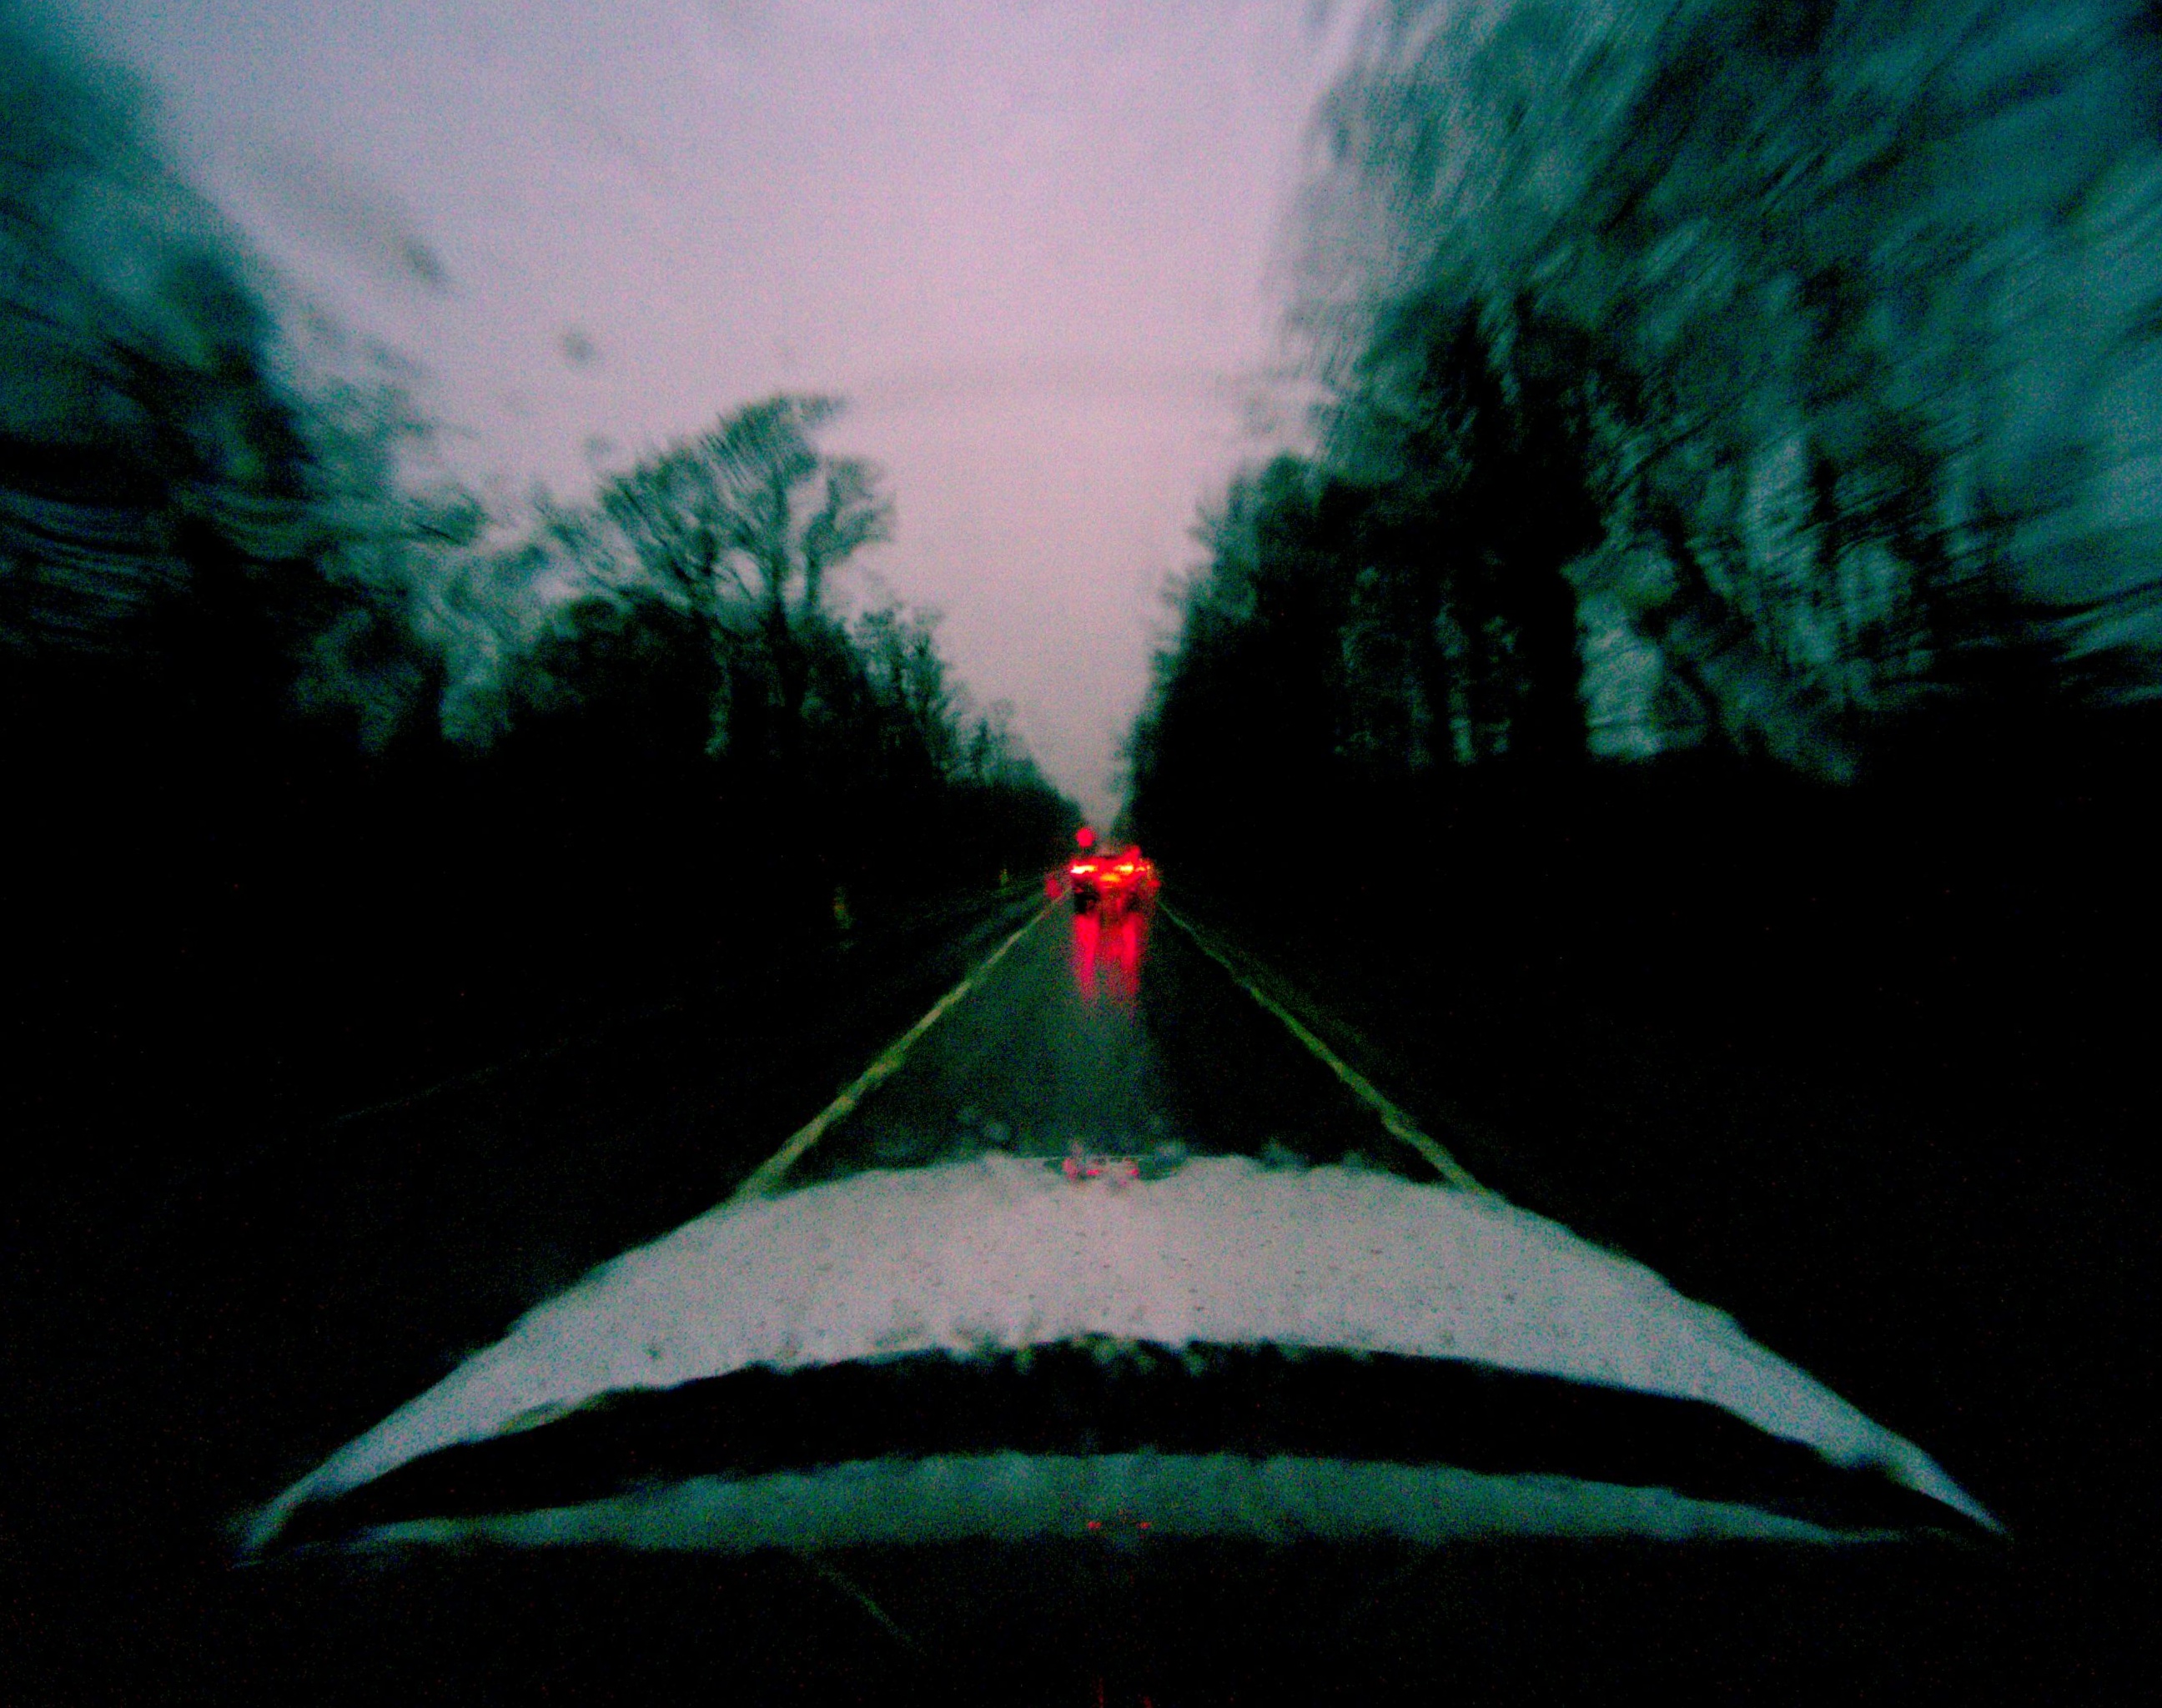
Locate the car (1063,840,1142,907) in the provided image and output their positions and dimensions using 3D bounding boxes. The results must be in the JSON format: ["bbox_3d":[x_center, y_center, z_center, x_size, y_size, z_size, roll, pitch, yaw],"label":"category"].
[{"bbox_3d":[0.666,0.558,25.410,2.190,1.877,4.828,-1,0,1],"label":"car"}]
